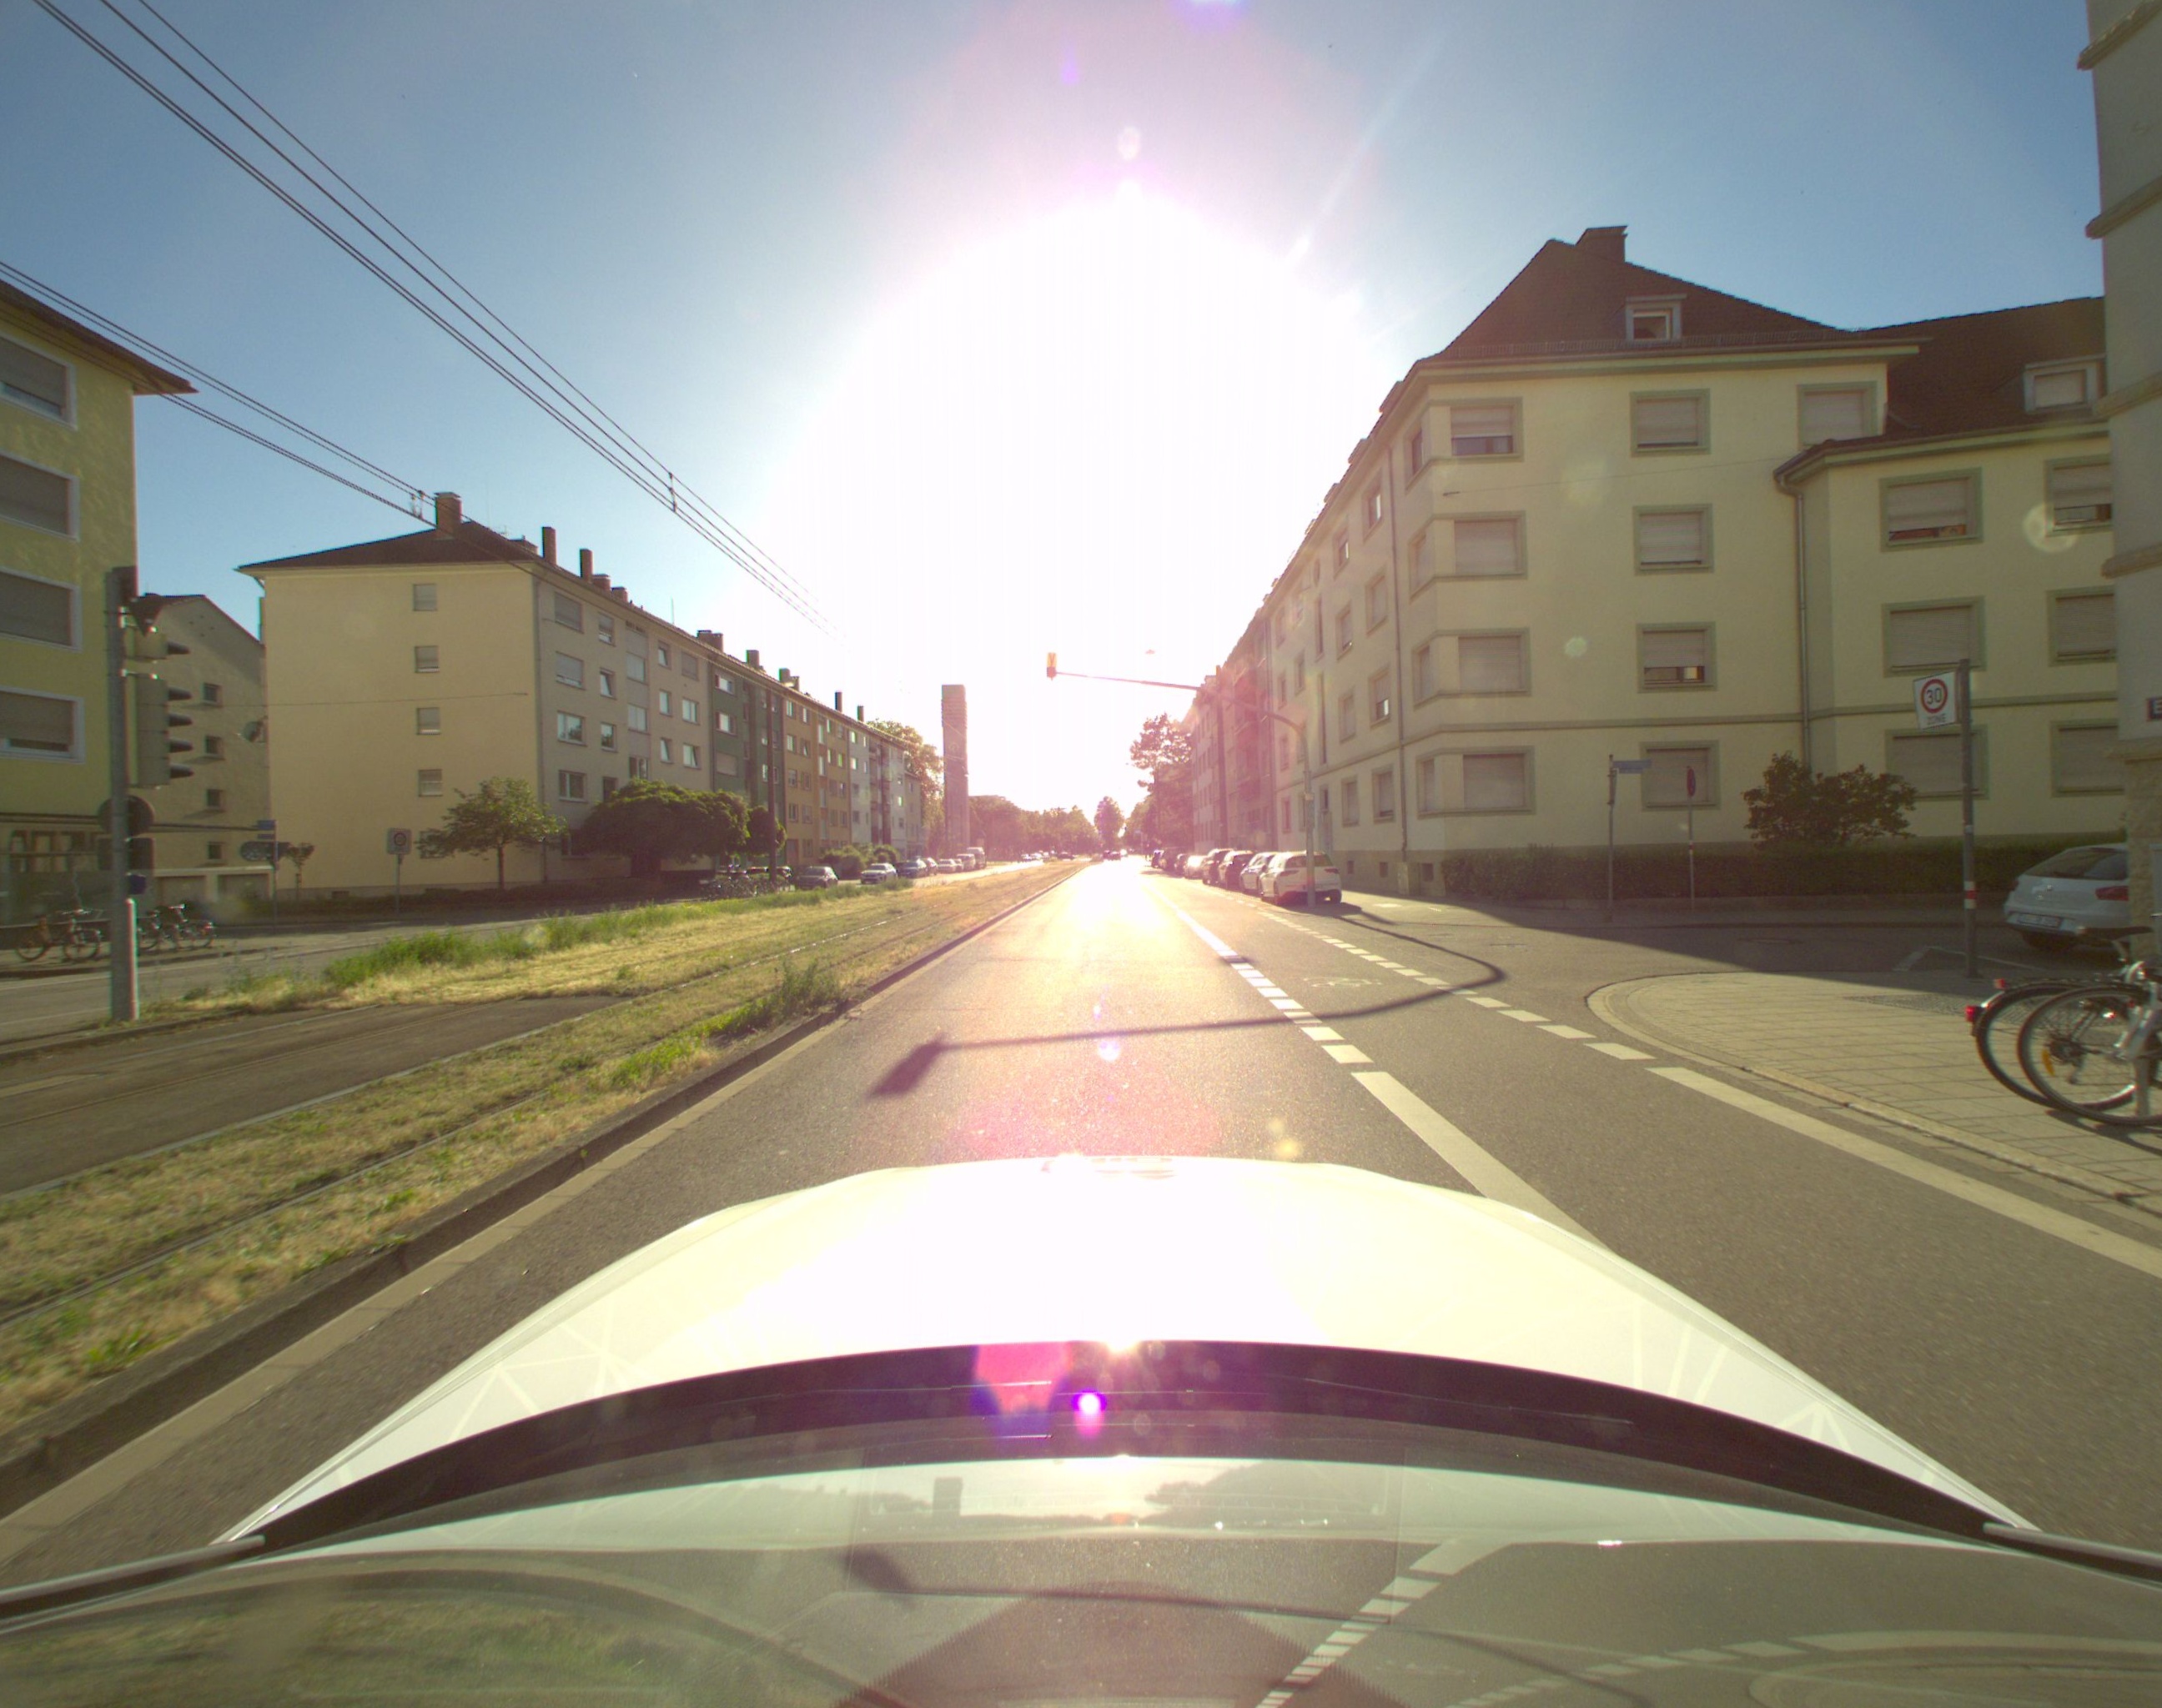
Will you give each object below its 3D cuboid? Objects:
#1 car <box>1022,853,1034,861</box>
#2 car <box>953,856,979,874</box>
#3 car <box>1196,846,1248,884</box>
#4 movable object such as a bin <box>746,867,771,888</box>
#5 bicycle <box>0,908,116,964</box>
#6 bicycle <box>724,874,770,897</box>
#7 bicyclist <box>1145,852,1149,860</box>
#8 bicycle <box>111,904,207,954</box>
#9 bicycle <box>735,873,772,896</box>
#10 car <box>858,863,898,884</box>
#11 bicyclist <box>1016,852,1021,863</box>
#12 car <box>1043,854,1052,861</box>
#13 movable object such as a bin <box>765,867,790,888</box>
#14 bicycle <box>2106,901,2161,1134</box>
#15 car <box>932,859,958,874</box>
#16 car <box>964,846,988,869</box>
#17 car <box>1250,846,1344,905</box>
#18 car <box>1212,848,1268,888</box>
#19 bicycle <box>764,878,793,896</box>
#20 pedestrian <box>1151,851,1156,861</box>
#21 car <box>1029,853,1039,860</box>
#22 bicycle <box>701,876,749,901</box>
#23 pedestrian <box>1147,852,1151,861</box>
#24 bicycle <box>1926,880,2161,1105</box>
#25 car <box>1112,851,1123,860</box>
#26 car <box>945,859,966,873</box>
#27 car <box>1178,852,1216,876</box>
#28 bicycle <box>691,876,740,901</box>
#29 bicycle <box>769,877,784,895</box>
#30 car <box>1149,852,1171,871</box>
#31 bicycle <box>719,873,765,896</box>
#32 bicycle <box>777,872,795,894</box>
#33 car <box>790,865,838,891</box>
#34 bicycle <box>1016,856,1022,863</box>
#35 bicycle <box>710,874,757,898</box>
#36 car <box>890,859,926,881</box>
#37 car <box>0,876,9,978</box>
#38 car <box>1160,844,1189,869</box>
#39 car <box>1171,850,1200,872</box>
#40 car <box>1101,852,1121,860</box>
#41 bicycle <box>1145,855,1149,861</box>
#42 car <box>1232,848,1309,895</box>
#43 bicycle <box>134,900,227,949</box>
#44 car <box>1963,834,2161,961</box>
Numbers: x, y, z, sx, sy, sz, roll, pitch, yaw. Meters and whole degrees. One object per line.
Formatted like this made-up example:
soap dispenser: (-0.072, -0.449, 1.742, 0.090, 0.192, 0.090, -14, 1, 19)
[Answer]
car: (-10.080, 0.609, 154.464, 1.687, 1.448, 4.220, -3, 0, 3)
car: (-13.845, 1.332, 98.194, 2.024, 2.021, 5.375, 1, 0, 3)
car: (6.773, 0.516, 39.555, 1.630, 1.647, 4.373, -4, 0, 0)
movable object such as a bin: (-21.158, 1.531, 53.475, 1.141, 1.368, 1.040, 1, -1, 4)
bicycle: (-21.783, 1.736, 17.280, 2.089, 1.106, 0.473, 1, 0, 2)
bicycle: (-16.701, 1.587, 40.743, 2.036, 1.092, 0.617, 1, 0, 7)
bicyclist: (11.086, 0.265, 137.658, 0.635, 1.323, 0.804, 1, 0, 4)
bicycle: (-21.600, 1.748, 19.089, 1.812, 1.106, 0.391, 1, 0, 2)
bicycle: (-16.952, 1.582, 42.119, 2.029, 1.092, 0.619, 1, 0, 29)
car: (-15.313, 1.450, 61.578, 1.722, 1.454, 4.378, -1, 0, 2)
bicyclist: (-10.830, 0.594, 142.045, 0.770, 2.013, 0.648, 1, 0, 2)
car: (-7.899, 0.728, 189.762, 1.680, 1.533, 4.363, -2, 0, 2)
movable object such as a bin: (-19.870, 1.549, 53.384, 1.141, 1.368, 1.040, 1, -1, 4)
bicycle: (6.013, 0.743, 3.532, 1.894, 1.087, 0.477, -3, 0, 26)
car: (-14.463, 1.284, 86.833, 1.886, 1.491, 4.703, 0, 0, 0)
car: (-13.589, 0.390, 105.650, 2.024, 2.868, 6.233, 0, 0, 3)
car: (6.138, 0.558, 23.599, 1.687, 1.458, 4.382, -3, 0, 2)
car: (6.643, 0.552, 34.369, 1.629, 1.517, 4.191, -3, 0, 2)
bicycle: (-15.843, 1.707, 42.612, 1.567, 0.869, 0.420, 1, 0, 24)
pedestrian: (12.798, 0.312, 143.206, 0.699, 1.789, 0.695, -4, 1, 7)
car: (-10.922, 0.531, 189.519, 1.799, 1.533, 4.363, -2, 0, 2)
bicycle: (-16.895, 1.636, 38.609, 2.036, 1.092, 0.617, 1, 0, 7)
pedestrian: (12.016, 0.446, 143.376, 0.526, 1.529, 0.629, -3, -1, 7)
bicycle: (5.806, 0.696, 4.225, 1.895, 1.087, 0.476, -4, 1, 22)
car: (6.312, 0.288, 140.896, 1.689, 1.508, 3.698, 0, 0, 0)
car: (-14.217, 1.385, 92.360, 1.689, 1.515, 4.325, -1, 0, -1)
car: (7.109, 0.602, 50.258, 1.696, 1.275, 4.304, -5, 0, 1)
bicycle: (-17.002, 1.603, 37.861, 2.036, 1.092, 0.617, 1, 0, 7)
bicycle: (-16.045, 1.672, 42.930, 0.376, 0.866, 2.048, 1, 0, -9)
car: (8.189, 0.756, 84.632, 1.871, 1.717, 4.938, -5, 0, 3)
bicycle: (-16.667, 1.505, 40.051, 2.036, 1.092, 0.617, 1, 0, 7)
bicycle: (-15.579, 1.535, 43.057, 0.509, 1.092, 1.930, 1, 0, -9)
car: (-15.848, 1.392, 48.493, 1.630, 1.442, 3.733, 0, 0, 0)
bicycle: (-10.817, 0.969, 142.585, 0.765, 1.146, 2.476, -4, 0, 2)
bicycle: (-16.761, 1.540, 39.321, 2.036, 1.092, 0.617, 1, 0, 7)
car: (-15.264, 1.392, 72.016, 1.986, 1.838, 4.611, 1, 0, 2)
car: (-21.733, 1.396, 12.996, 1.988, 1.949, 5.498, 1, 0, -1)
car: (7.916, 0.209, 69.533, 1.906, 1.899, 5.137, -5, 0, 2)
car: (7.462, 0.487, 58.151, 1.629, 1.454, 3.791, -4, 0, 2)
car: (6.358, 0.483, 174.342, 1.876, 1.611, 4.528, 1, 0, 40)
bicycle: (11.079, 0.625, 137.670, 0.645, 0.972, 1.806, 1, 0, 5)
car: (6.608, 0.569, 28.833, 1.631, 1.458, 4.079, -3, 0, -2)
bicycle: (-21.556, 1.691, 19.512, 1.812, 1.106, 0.391, 1, 0, 2)
car: (13.577, 0.516, 9.812, 3.704, 1.424, 1.718, 1, 0, 12)
